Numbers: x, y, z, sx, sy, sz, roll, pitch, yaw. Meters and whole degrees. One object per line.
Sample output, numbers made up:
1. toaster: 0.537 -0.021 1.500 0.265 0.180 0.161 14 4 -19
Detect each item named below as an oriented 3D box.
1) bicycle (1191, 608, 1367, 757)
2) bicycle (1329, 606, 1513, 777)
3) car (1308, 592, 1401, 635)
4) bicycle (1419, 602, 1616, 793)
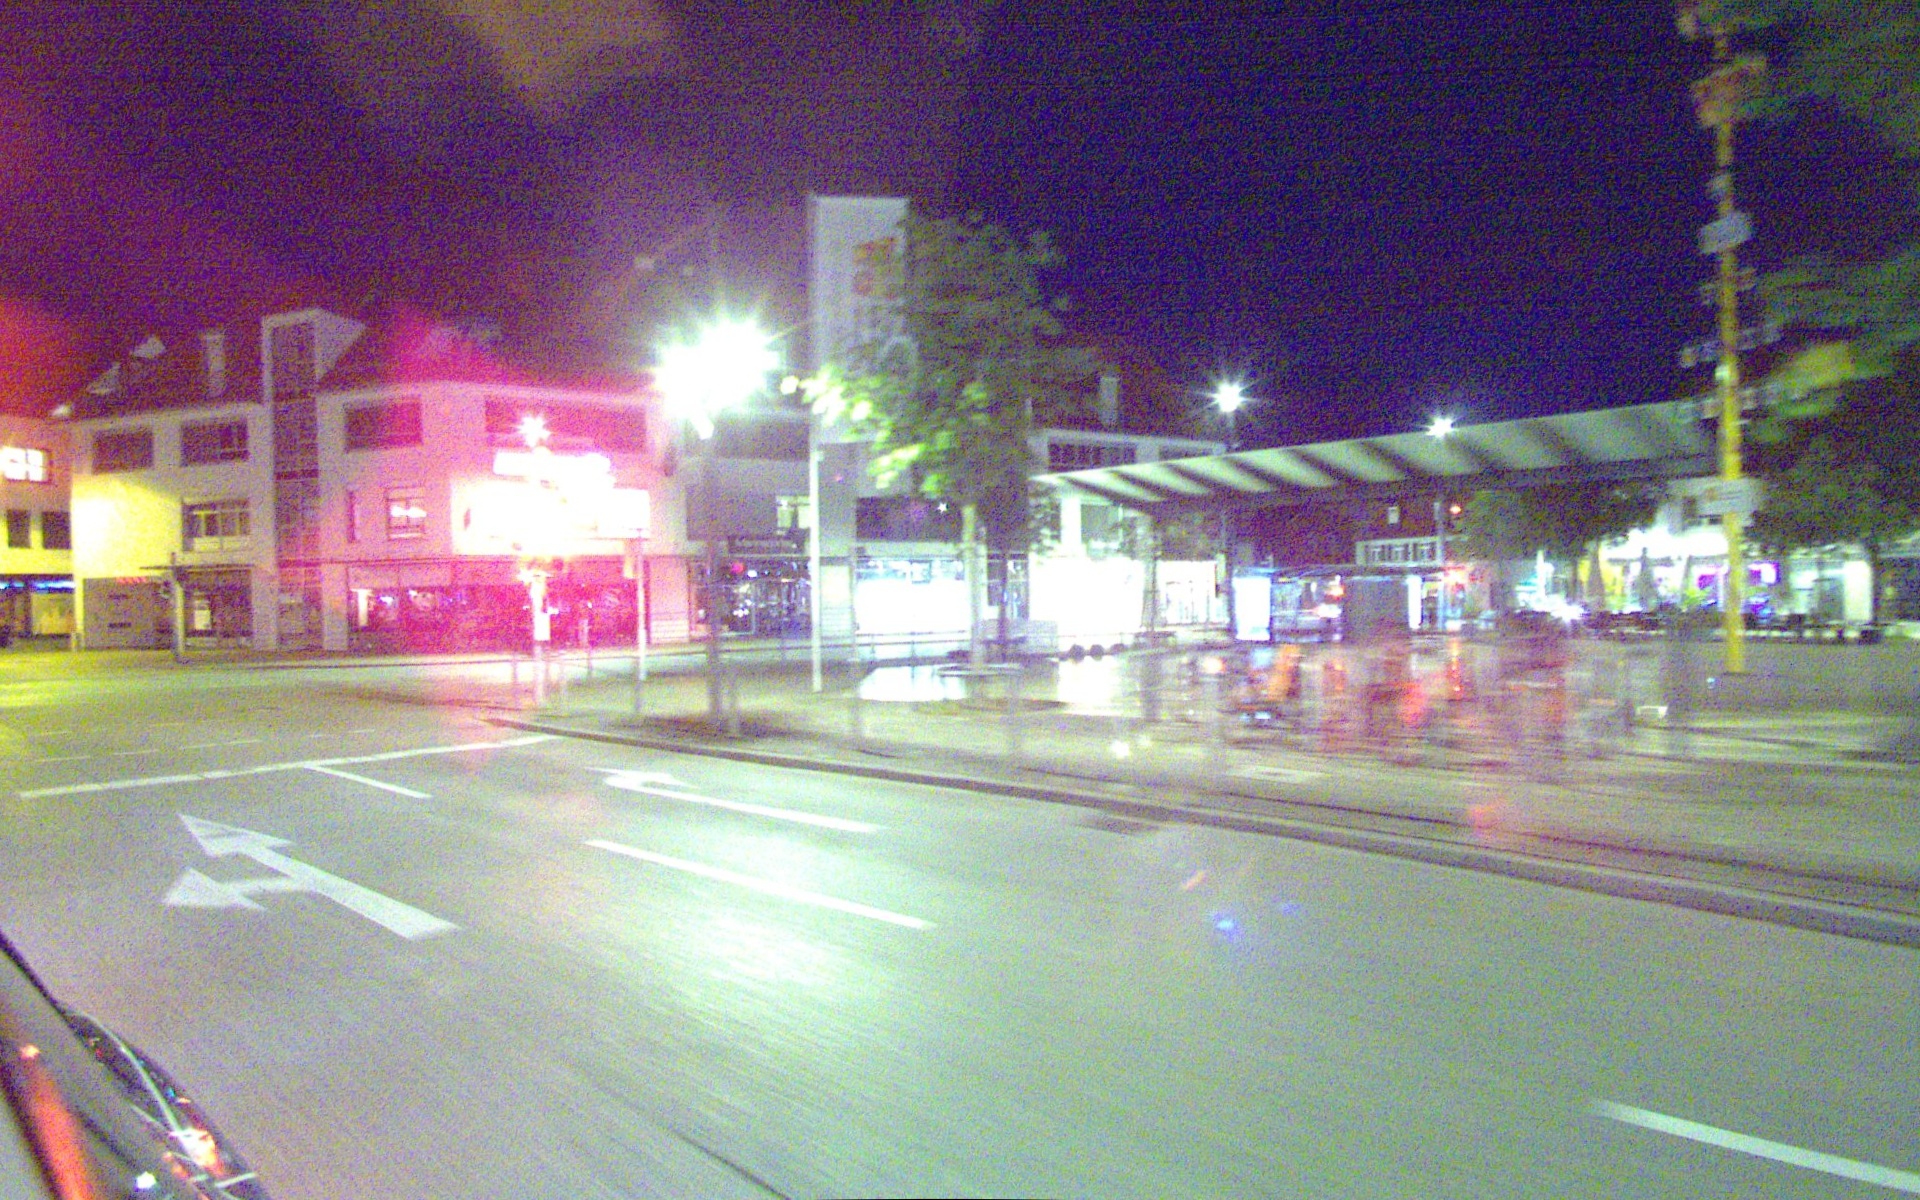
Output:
1. bicycle: 3.034 0.707 9.530 1.813 1.166 0.788 -4 2 -44
2. bicycle: 3.829 0.677 8.332 1.715 1.166 0.788 -4 2 -44
3. car: 18.798 0.622 48.165 4.344 1.951 1.965 0 -2 -34
4. bicycle: 4.208 0.657 7.578 1.715 1.175 0.787 -4 1 -44
